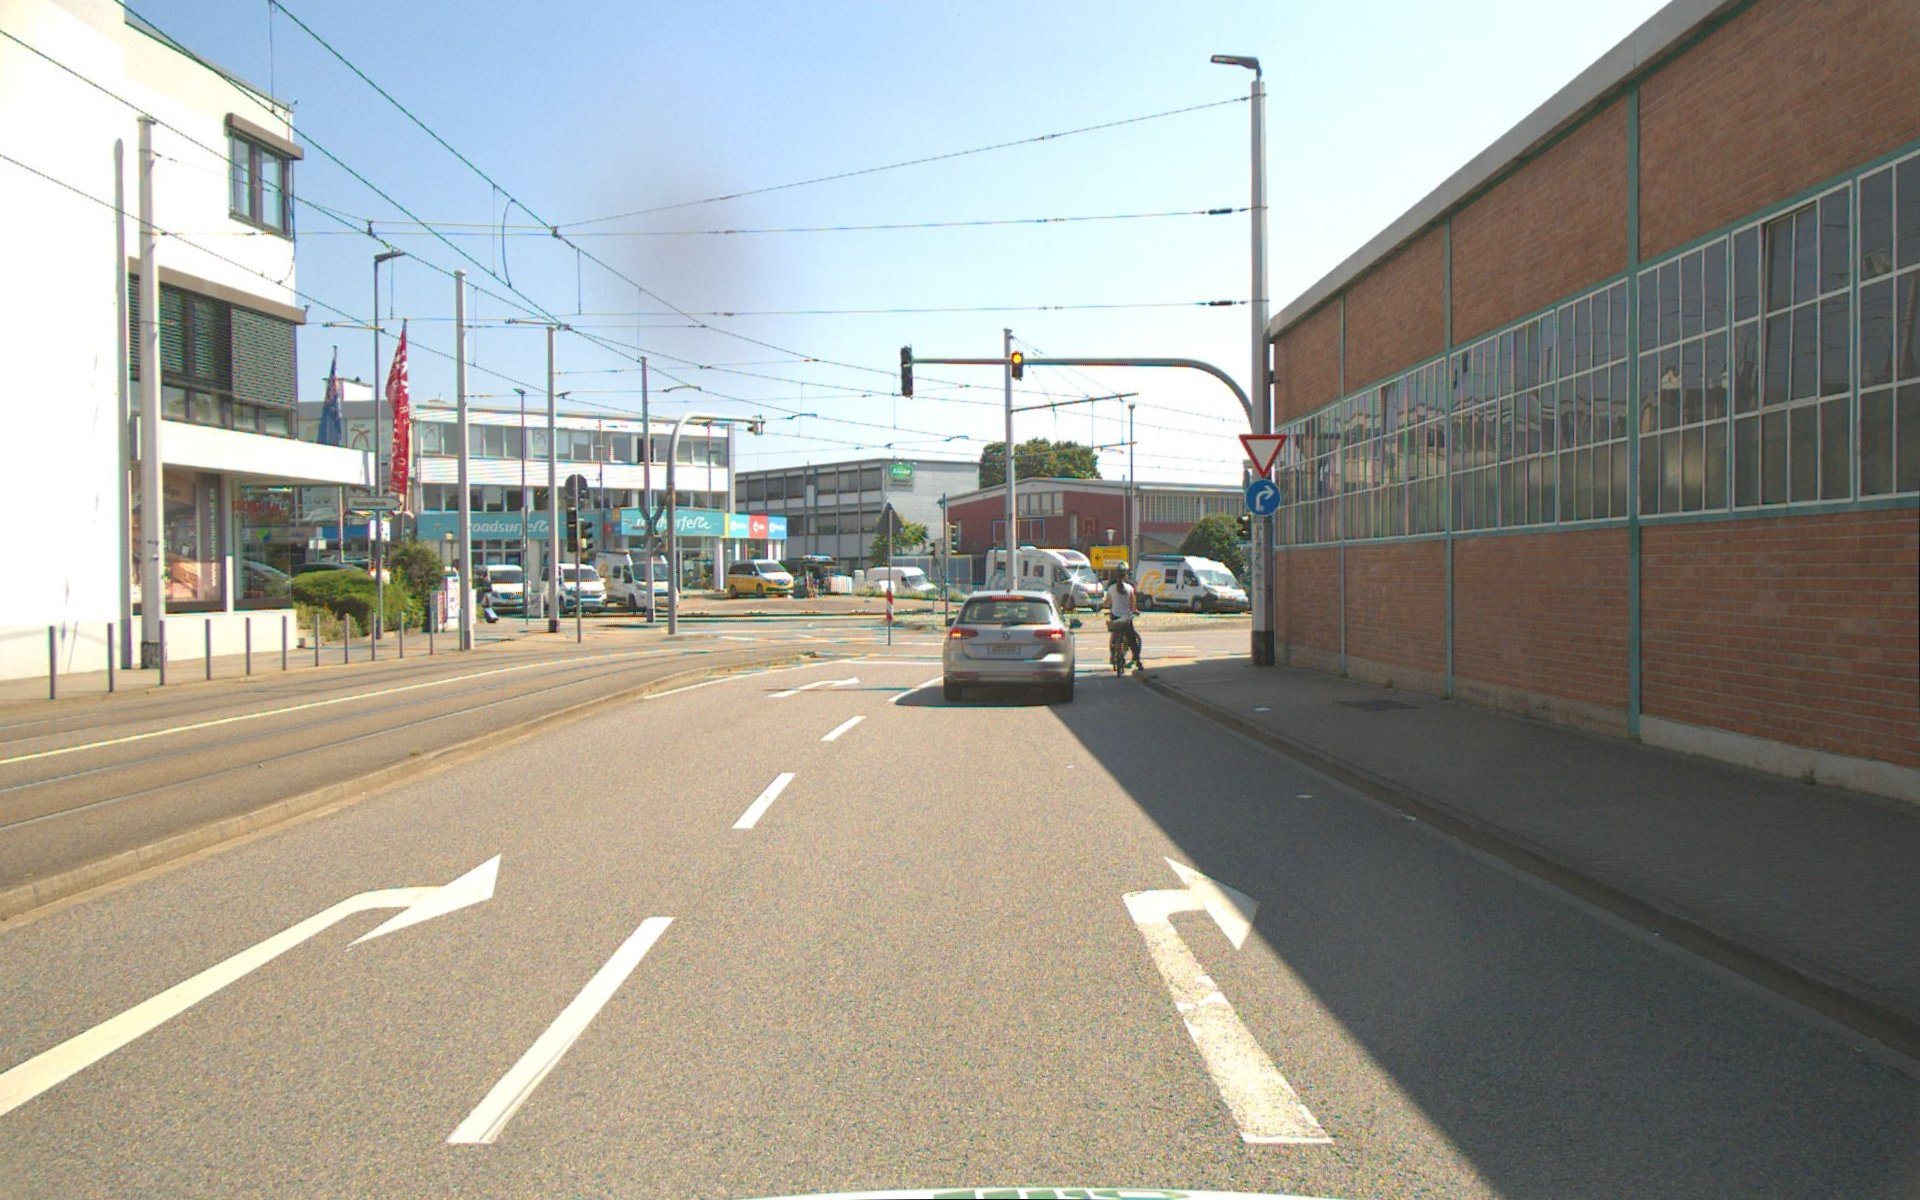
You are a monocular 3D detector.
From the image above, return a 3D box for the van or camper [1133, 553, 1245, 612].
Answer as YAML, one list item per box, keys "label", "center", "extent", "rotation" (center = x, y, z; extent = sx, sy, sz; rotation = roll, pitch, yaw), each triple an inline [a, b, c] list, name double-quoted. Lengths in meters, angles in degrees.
- label: "van or camper"
  center: [10.940, -0.868, 79.365]
  extent: [2.264, 2.482, 5.319]
  rotation: [-2, 5, -36]

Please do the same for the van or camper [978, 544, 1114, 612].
- label: "van or camper"
  center: [3.998, -1.119, 78.602]
  extent: [2.334, 2.981, 6.881]
  rotation: [-2, 4, -42]

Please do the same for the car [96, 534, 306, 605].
- label: "car"
  center: [-17.446, -0.702, 38.144]
  extent: [3.904, 1.590, 2.001]
  rotation: [0, 0, 3]

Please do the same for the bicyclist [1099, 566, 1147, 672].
- label: "bicyclist"
  center: [2.754, 0.305, 28.000]
  extent: [0.769, 1.752, 1.147]
  rotation: [0, 0, 3]

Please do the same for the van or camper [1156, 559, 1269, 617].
- label: "van or camper"
  center: [12.643, -0.677, 83.264]
  extent: [2.264, 2.656, 5.819]
  rotation: [-2, 3, -36]

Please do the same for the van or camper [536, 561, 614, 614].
- label: "van or camper"
  center: [-16.643, -0.578, 71.377]
  extent: [1.972, 2.048, 4.961]
  rotation: [-2, 3, -30]

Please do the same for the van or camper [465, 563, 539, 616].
- label: "van or camper"
  center: [-19.694, -0.486, 71.052]
  extent: [1.973, 2.048, 4.716]
  rotation: [-2, 3, -30]

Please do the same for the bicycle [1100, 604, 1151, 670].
- label: "bicycle"
  center: [2.788, 0.603, 28.020]
  extent: [0.777, 1.039, 2.152]
  rotation: [0, 1, 4]

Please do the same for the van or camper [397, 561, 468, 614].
- label: "van or camper"
  center: [-22.694, -0.564, 71.076]
  extent: [1.973, 2.048, 4.716]
  rotation: [-2, 3, -30]

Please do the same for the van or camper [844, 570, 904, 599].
- label: "van or camper"
  center: [-5.911, -1.063, 113.283]
  extent: [3.932, 1.982, 1.986]
  rotation: [0, 1, 44]

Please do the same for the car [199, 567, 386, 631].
- label: "car"
  center: [-16.984, -0.042, 42.215]
  extent: [3.904, 1.545, 2.001]
  rotation: [0, 3, 3]

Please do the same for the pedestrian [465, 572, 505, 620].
- label: "pedestrian"
  center: [-14.883, -0.138, 51.863]
  extent: [1.109, 1.480, 0.836]
  rotation: [0, 0, -10]

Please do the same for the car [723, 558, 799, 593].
- label: "car"
  center: [-10.487, -1.260, 86.806]
  extent: [1.921, 1.790, 5.063]
  rotation: [-1, 1, -33]

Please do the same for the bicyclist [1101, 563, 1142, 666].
- label: "bicyclist"
  center: [2.937, 0.252, 30.222]
  extent: [0.693, 1.842, 0.983]
  rotation: [0, 0, 2]

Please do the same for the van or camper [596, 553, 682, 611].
- label: "van or camper"
  center: [-14.208, -0.848, 72.923]
  extent: [2.010, 2.336, 5.756]
  rotation: [-2, 3, -30]

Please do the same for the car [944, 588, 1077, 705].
- label: "car"
  center: [0.746, 0.591, 23.421]
  extent: [1.710, 1.484, 4.002]
  rotation: [0, 0, 3]
